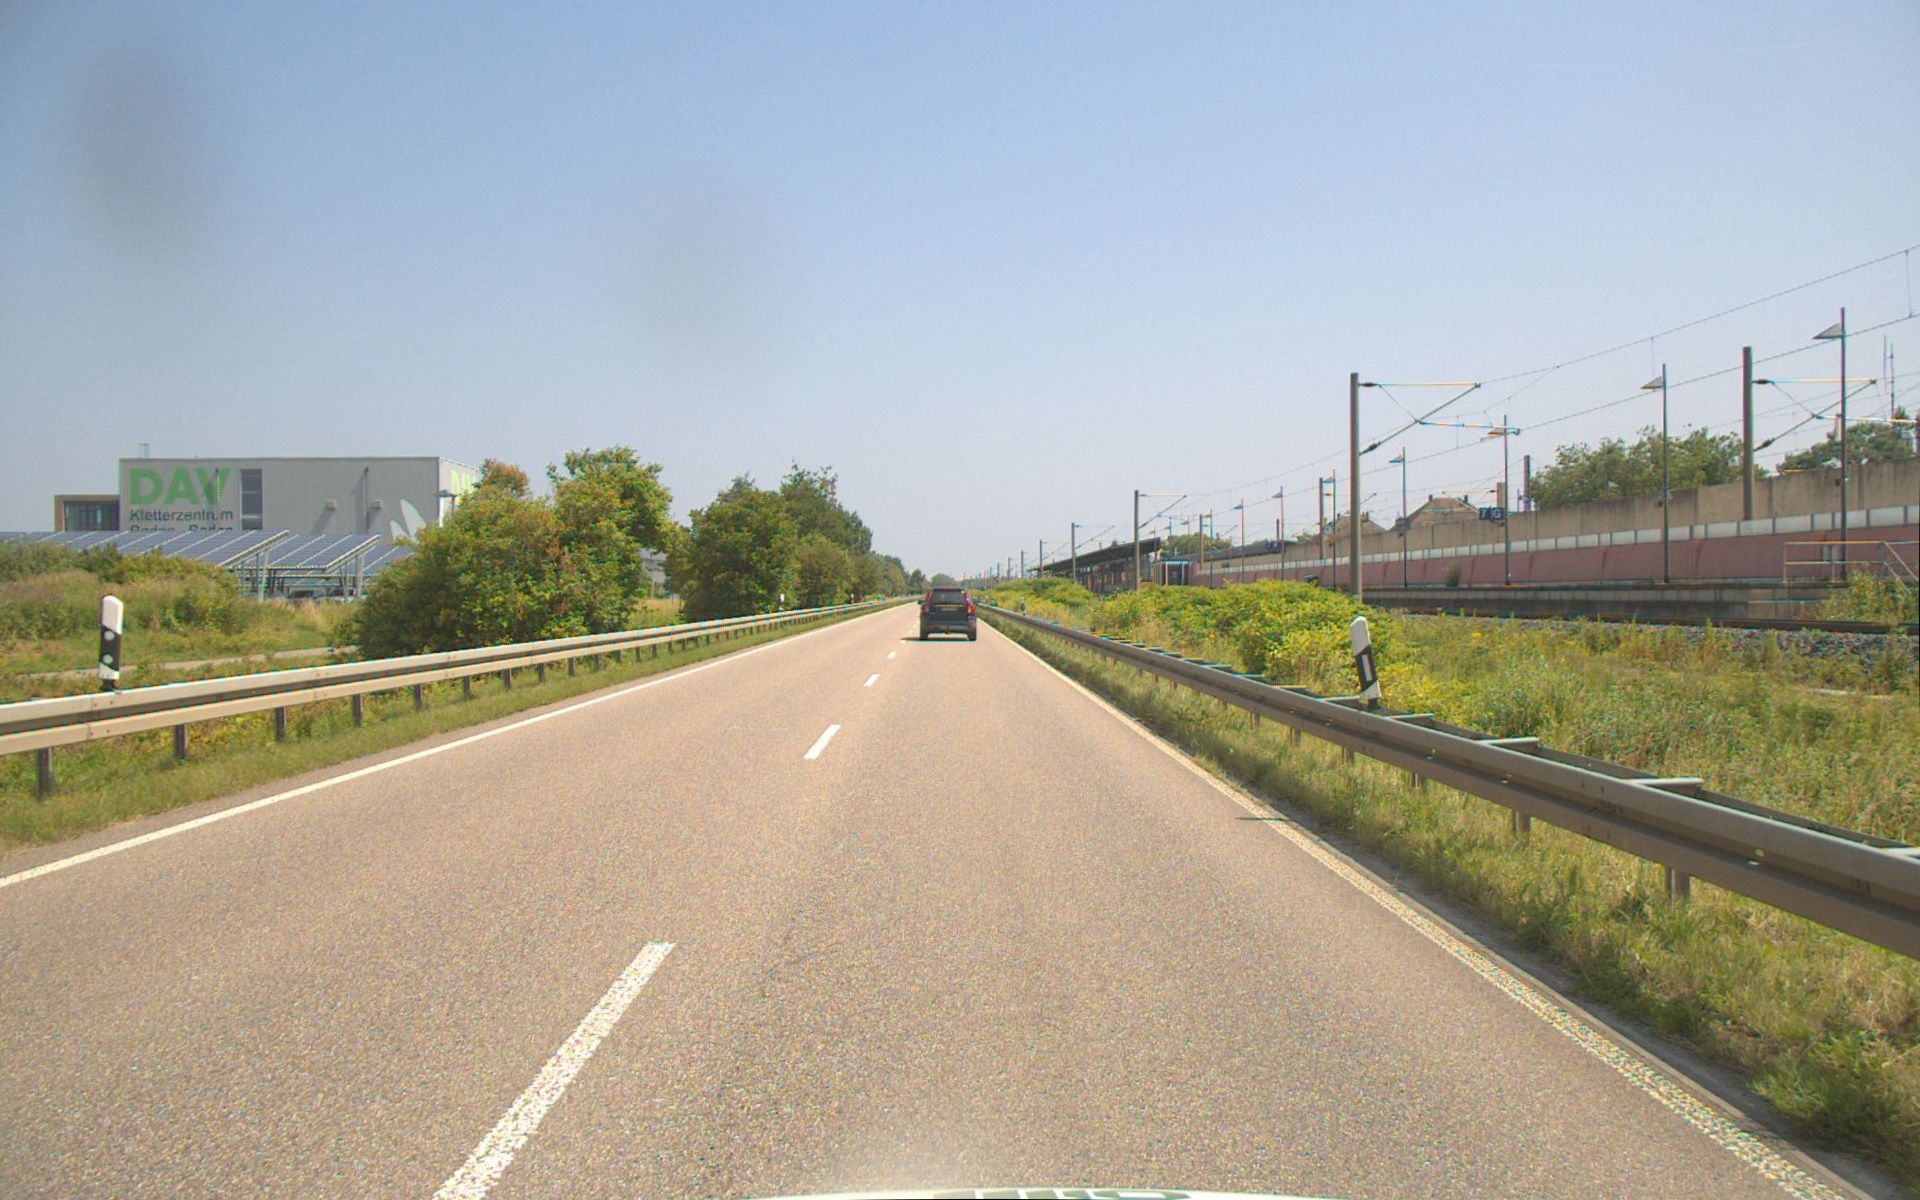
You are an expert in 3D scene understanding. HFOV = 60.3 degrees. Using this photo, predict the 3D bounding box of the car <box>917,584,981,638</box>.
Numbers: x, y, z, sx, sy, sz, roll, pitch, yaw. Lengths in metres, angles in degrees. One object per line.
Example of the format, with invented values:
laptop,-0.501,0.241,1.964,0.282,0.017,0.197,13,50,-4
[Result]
car,-0.403,0.348,54.582,1.954,1.730,3.998,0,0,-3
